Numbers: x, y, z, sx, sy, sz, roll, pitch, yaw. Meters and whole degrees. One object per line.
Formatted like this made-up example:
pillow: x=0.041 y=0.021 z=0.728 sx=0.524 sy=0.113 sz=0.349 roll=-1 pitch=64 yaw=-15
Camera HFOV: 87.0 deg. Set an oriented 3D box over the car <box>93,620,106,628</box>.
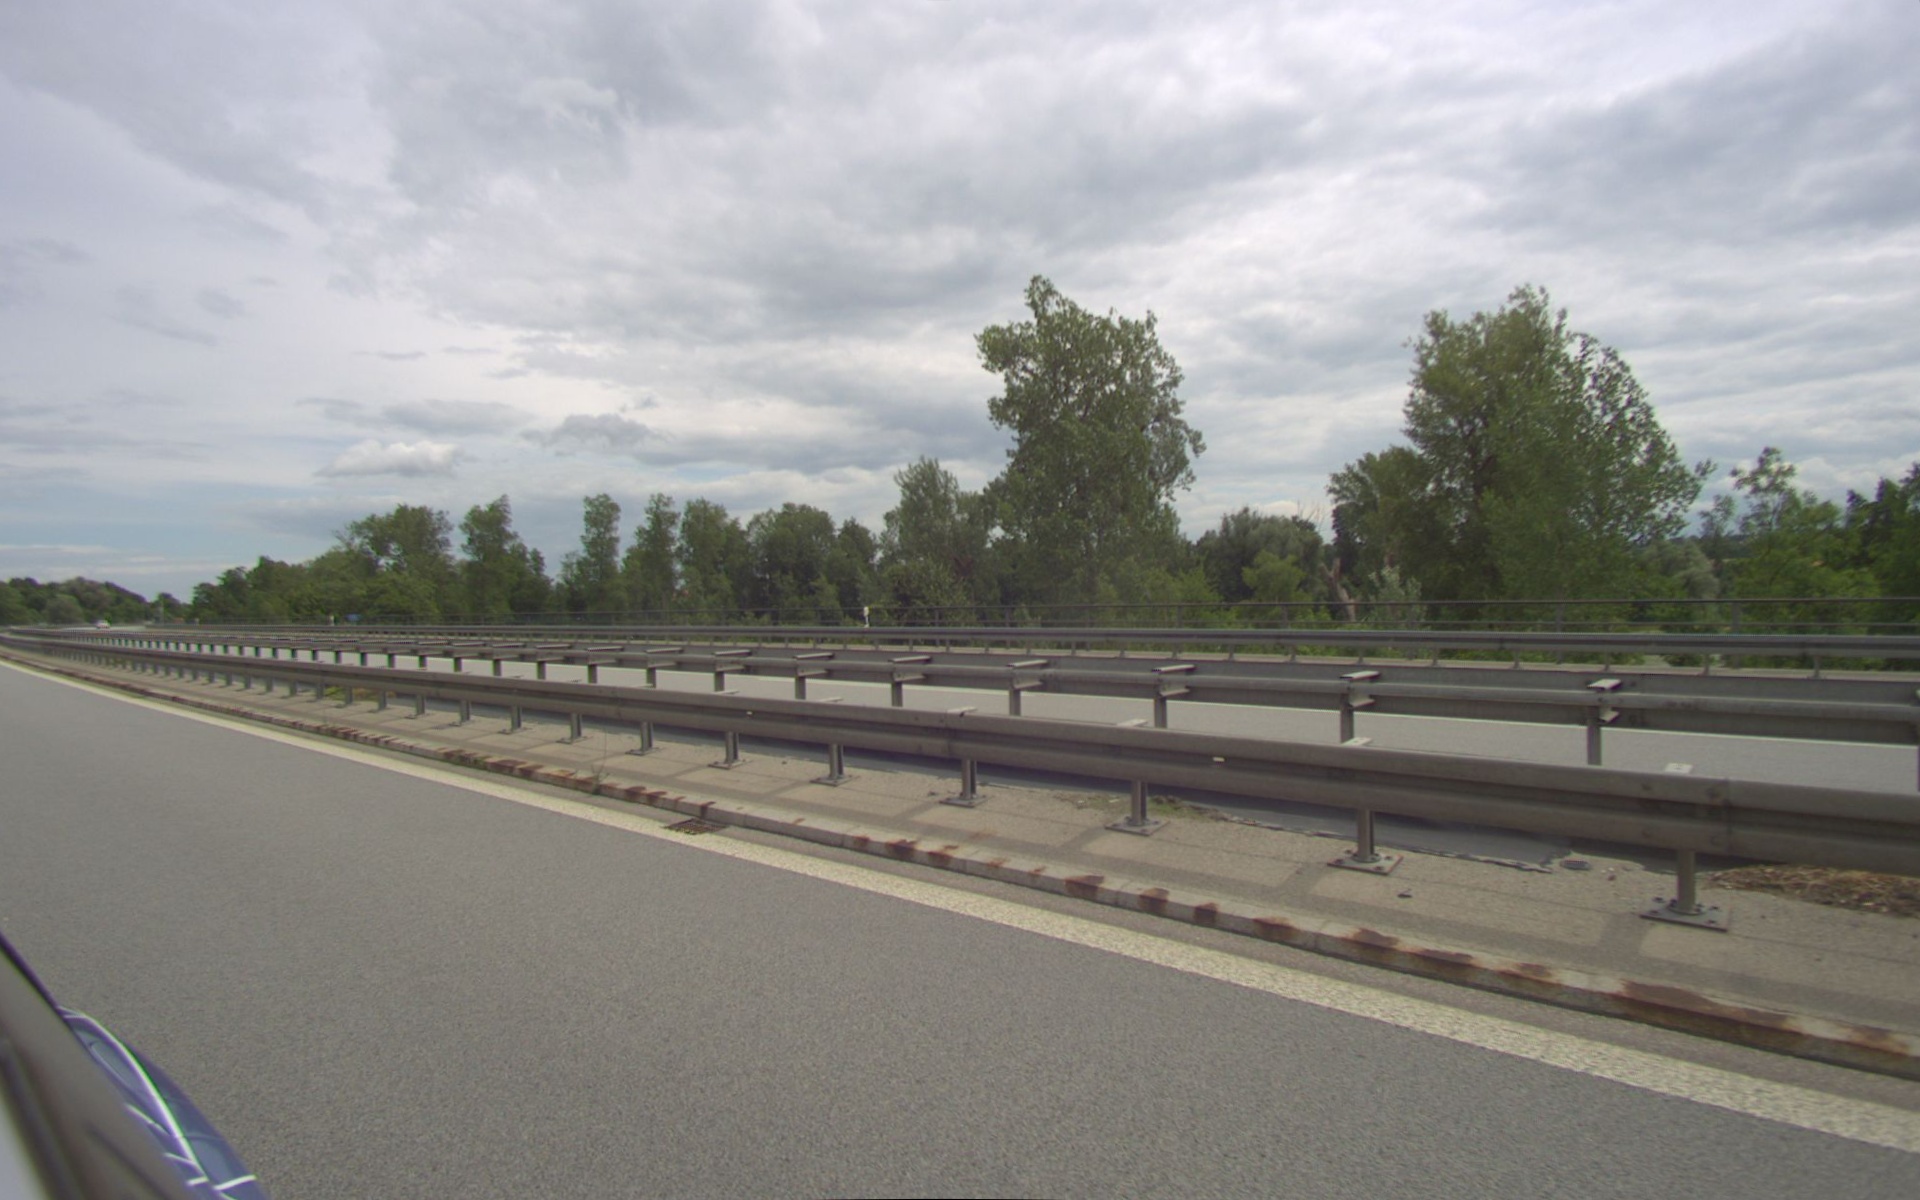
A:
car: x=-153.398 y=4.265 z=180.426 sx=1.513 sy=1.417 sz=4.331 roll=-1 pitch=0 yaw=-45
